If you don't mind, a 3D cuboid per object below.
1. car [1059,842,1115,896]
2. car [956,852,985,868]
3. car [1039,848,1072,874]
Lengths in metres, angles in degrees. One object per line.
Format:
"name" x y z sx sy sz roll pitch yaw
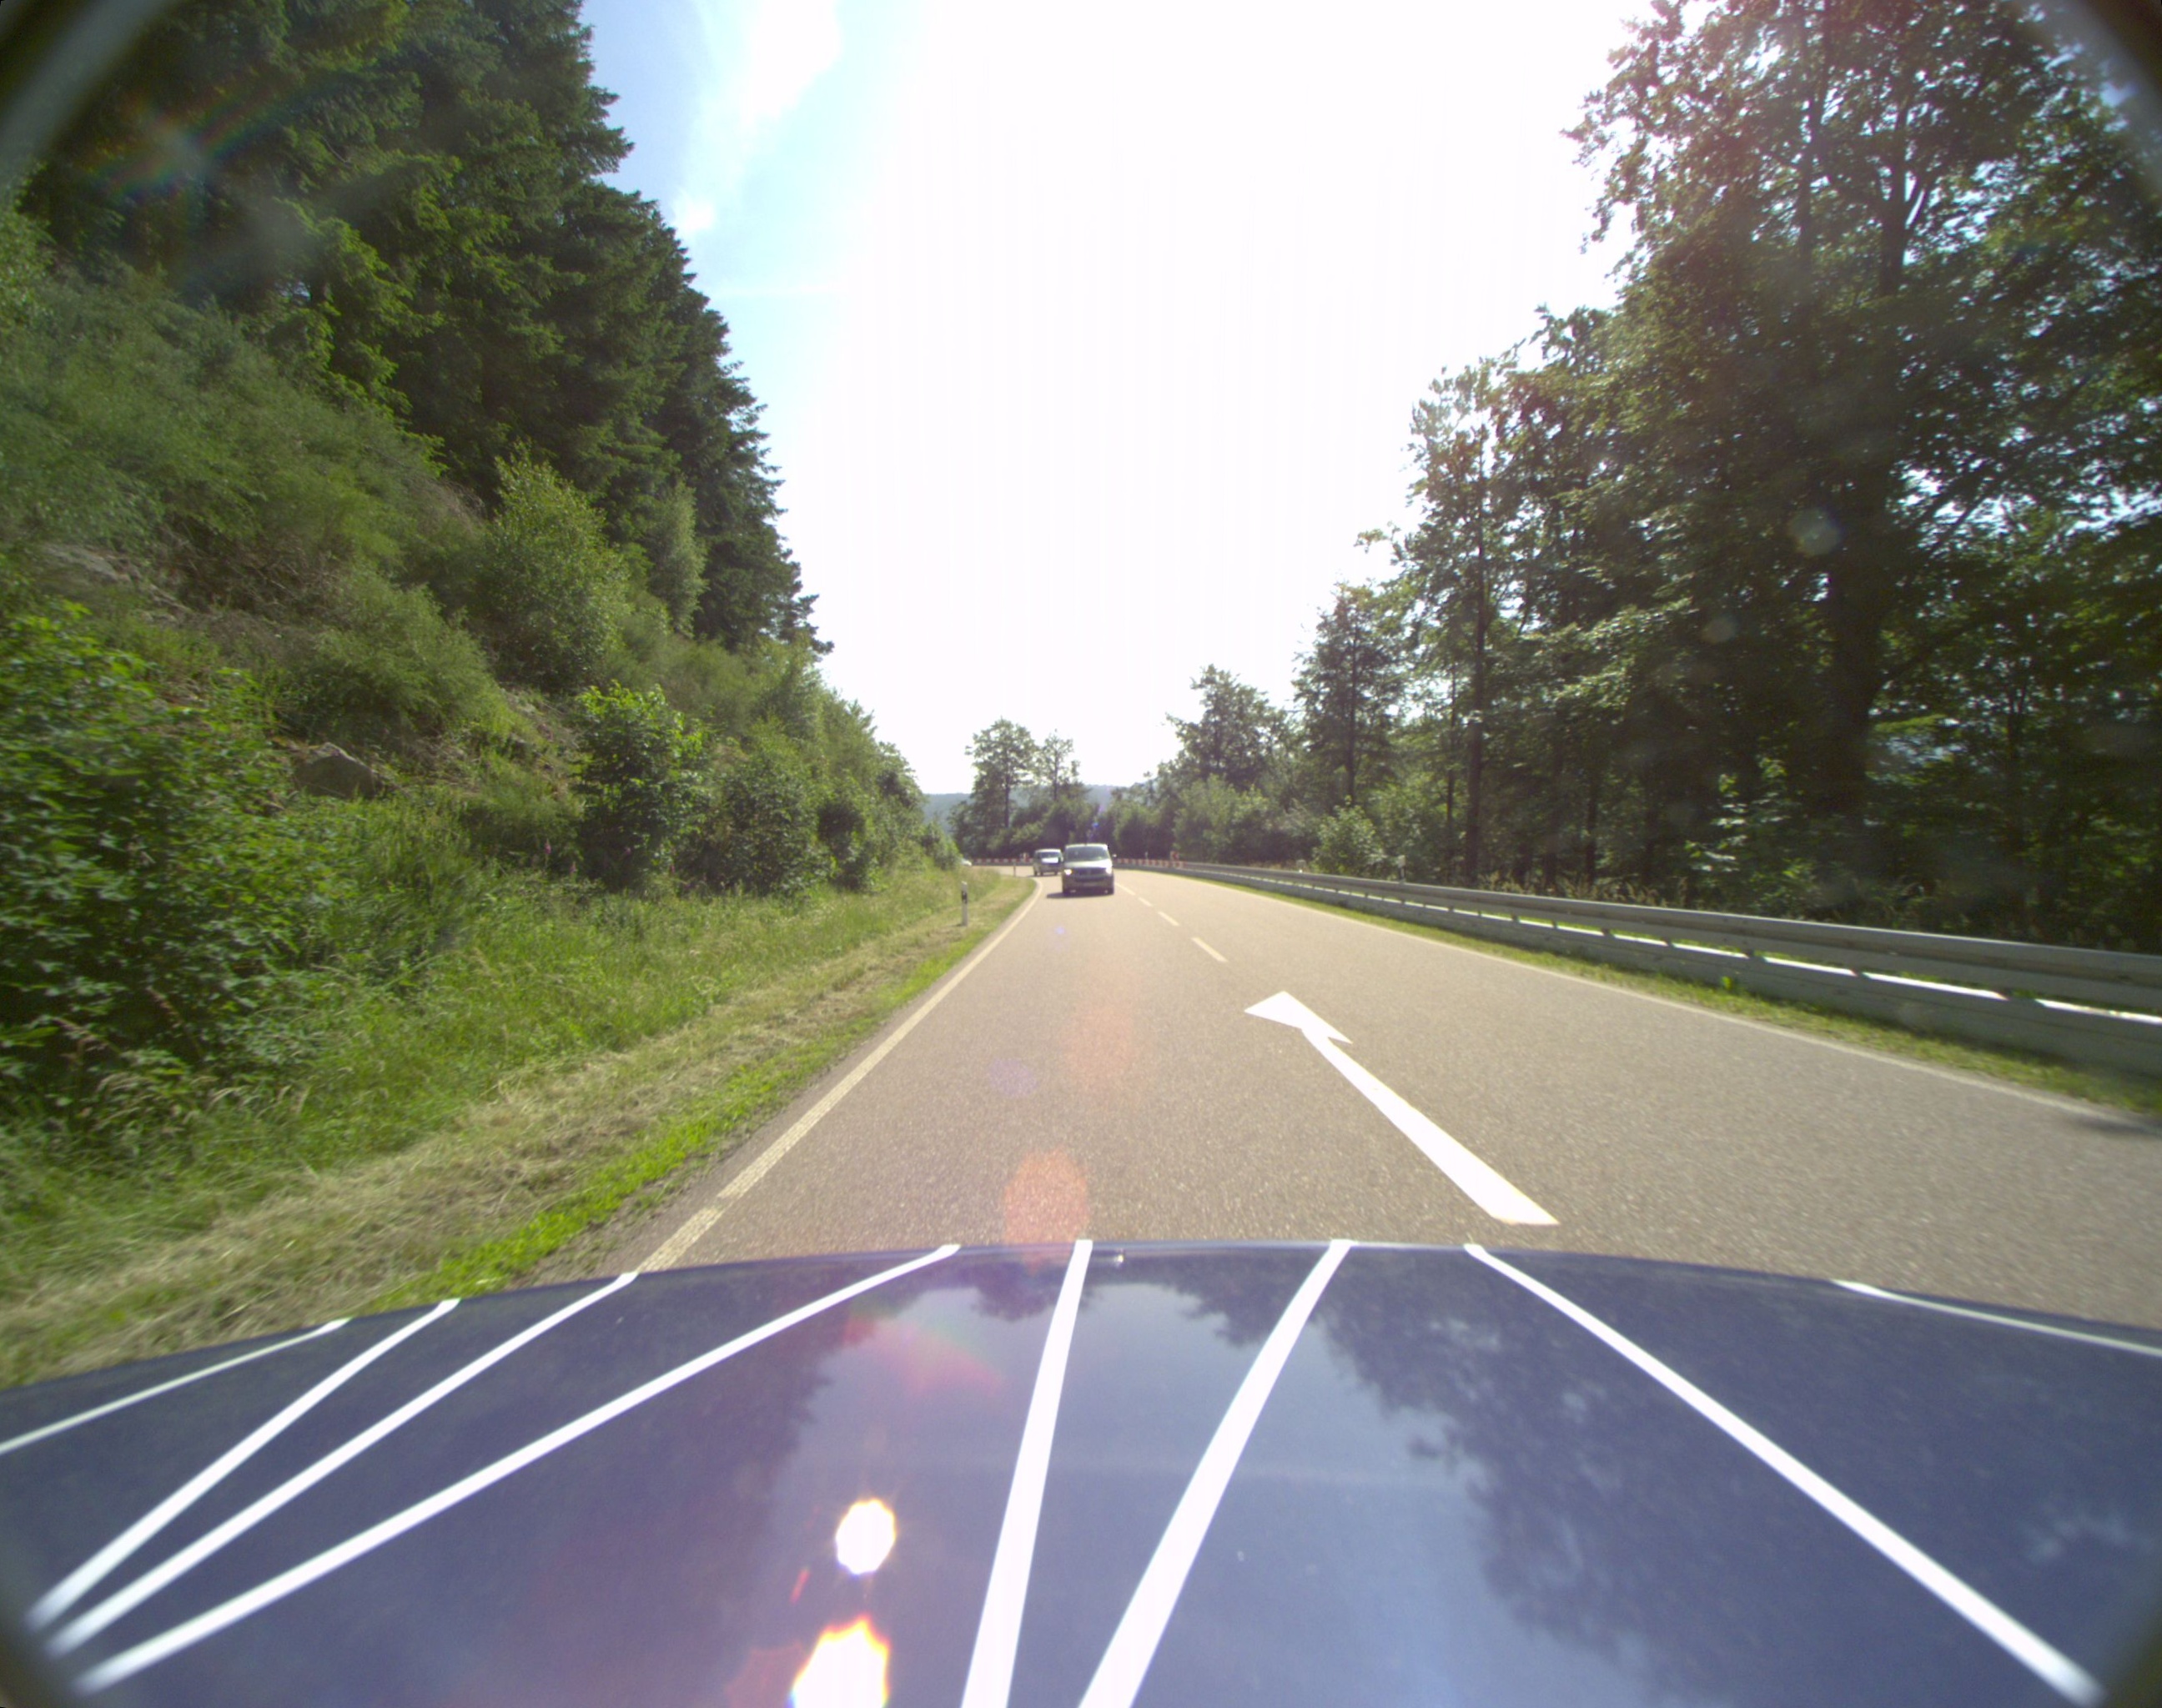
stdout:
"car" 0.166 0.546 30.879 1.991 1.899 4.759 -3 1 -1
"car" -12.018 0.641 82.417 2.003 1.717 3.991 -1 0 -26
"car" -1.938 0.488 56.853 2.138 1.825 4.719 -2 1 -6
